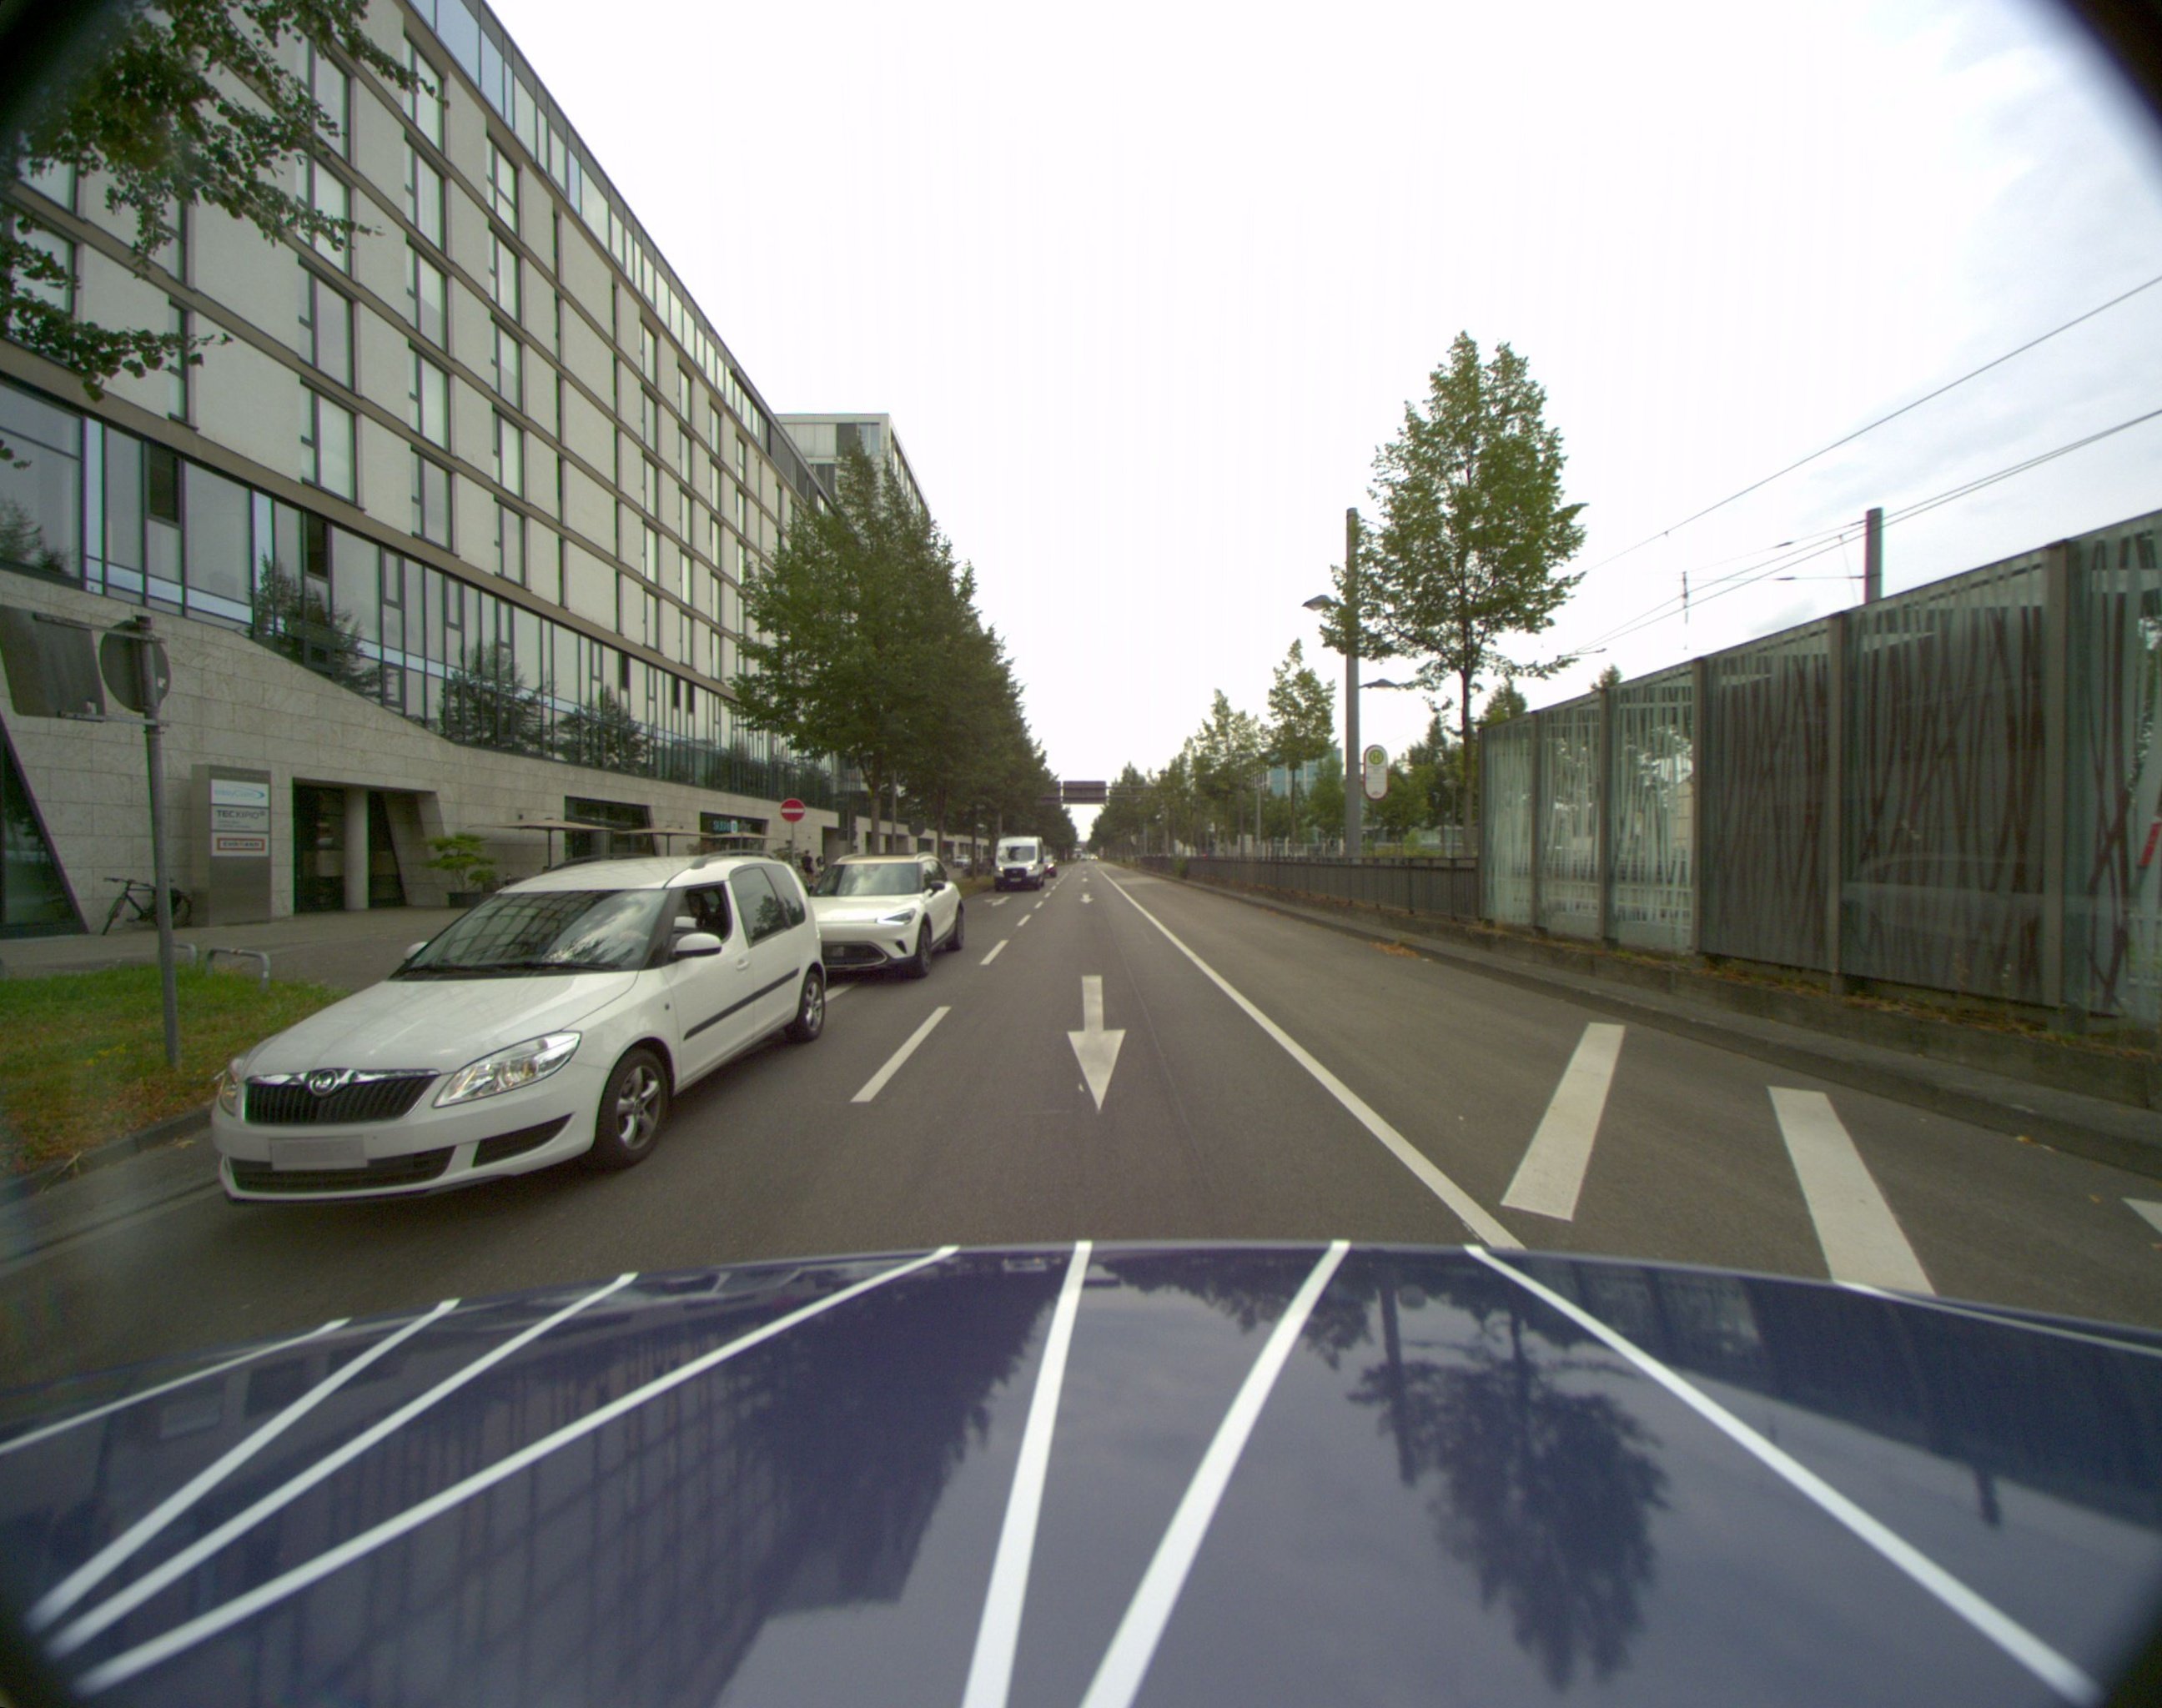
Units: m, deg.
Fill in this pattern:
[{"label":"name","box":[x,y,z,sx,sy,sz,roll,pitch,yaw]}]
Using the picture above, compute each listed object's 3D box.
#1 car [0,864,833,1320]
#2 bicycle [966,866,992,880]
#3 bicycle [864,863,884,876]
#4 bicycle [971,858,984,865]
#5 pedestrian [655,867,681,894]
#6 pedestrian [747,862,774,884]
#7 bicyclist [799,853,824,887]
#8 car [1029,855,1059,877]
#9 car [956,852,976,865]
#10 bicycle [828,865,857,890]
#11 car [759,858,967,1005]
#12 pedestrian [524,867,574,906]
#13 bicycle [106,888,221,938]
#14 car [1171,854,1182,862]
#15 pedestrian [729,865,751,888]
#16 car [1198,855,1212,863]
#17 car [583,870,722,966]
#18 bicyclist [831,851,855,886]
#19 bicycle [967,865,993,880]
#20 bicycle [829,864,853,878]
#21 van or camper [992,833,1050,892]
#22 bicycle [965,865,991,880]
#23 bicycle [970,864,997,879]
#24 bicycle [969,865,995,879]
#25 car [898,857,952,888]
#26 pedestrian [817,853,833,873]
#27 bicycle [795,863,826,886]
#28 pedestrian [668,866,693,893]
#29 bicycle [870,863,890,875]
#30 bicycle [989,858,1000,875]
[{"label":"car","box":[-3.164,0.918,4.842,1.783,1.647,4.023,0,0,1]},{"label":"bicycle","box":[-7.730,1.425,57.626,1.865,0.946,0.501,-4,0,-3]},{"label":"bicycle","box":[-17.235,1.291,63.272,1.602,1.020,0.533,0,0,-3]},{"label":"bicycle","box":[-17.785,1.314,130.893,2.238,1.170,0.975,-1,0,-7]},{"label":"pedestrian","box":[-18.132,1.151,33.400,0.720,1.185,0.759,0,0,0]},{"label":"pedestrian","box":[-17.374,1.028,41.212,0.773,1.185,1.107,0,0,15]},{"label":"bicyclist","box":[-12.682,0.745,35.766,0.726,1.573,0.990,1,1,3]},{"label":"car","box":[-2.640,0.815,55.136,1.973,1.528,4.139,0,0,1]},{"label":"car","box":[-14.320,0.566,94.831,1.862,1.579,4.240,2,0,0]},{"label":"bicycle","box":[-11.053,1.078,35.328,0.675,1.136,2.007,1,-1,1]},{"label":"car","box":[-2.860,0.916,10.926,1.783,1.647,4.023,-2,0,0]},{"label":"pedestrian","box":[-17.126,1.040,24.496,0.899,1.221,0.950,0,0,5]},{"label":"bicycle","box":[-18.779,1.189,15.598,0.519,0.905,1.493,0,0,1]},{"label":"car","box":[23.584,0.904,187.829,1.998,1.933,5.096,0,0,0]},{"label":"pedestrian","box":[-17.864,1.176,39.813,0.719,1.185,0.760,0,0,22]},{"label":"car","box":[24.165,0.948,148.053,1.832,1.646,4.691,0,0,-2]},{"label":"car","box":[-8.532,1.097,14.880,1.951,1.467,4.858,-1,0,-34]},{"label":"bicyclist","box":[-11.014,0.668,35.214,0.726,1.573,0.990,1,1,2]},{"label":"bicycle","box":[-7.718,1.420,58.374,1.865,0.946,0.652,-4,0,-3]},{"label":"bicycle","box":[-17.711,1.238,56.008,1.605,1.020,0.609,0,0,-27]},{"label":"van or camper","box":[-2.718,0.378,35.820,2.184,2.493,6.339,-2,0,0]},{"label":"bicycle","box":[-7.713,1.358,56.958,1.865,0.989,0.574,-4,0,-3]},{"label":"bicycle","box":[-7.667,1.357,59.807,1.935,1.059,0.705,-4,0,-3]},{"label":"bicycle","box":[-7.680,1.414,59.116,1.865,0.946,0.612,-4,0,-3]},{"label":"car","box":[-8.230,0.963,40.588,1.943,1.543,4.593,-1,0,0]},{"label":"pedestrian","box":[-17.595,0.624,52.252,0.758,1.398,0.721,0,0,8]},{"label":"bicycle","box":[-12.705,0.951,35.738,0.675,1.036,2.008,0,0,3]},{"label":"pedestrian","box":[-18.115,1.154,34.377,0.720,1.185,0.759,0,0,2]},{"label":"bicycle","box":[-17.269,1.297,65.381,1.602,1.020,0.533,0,0,-3]},{"label":"bicycle","box":[-6.171,0.891,54.199,0.712,1.109,2.202,-4,0,-7]}]
